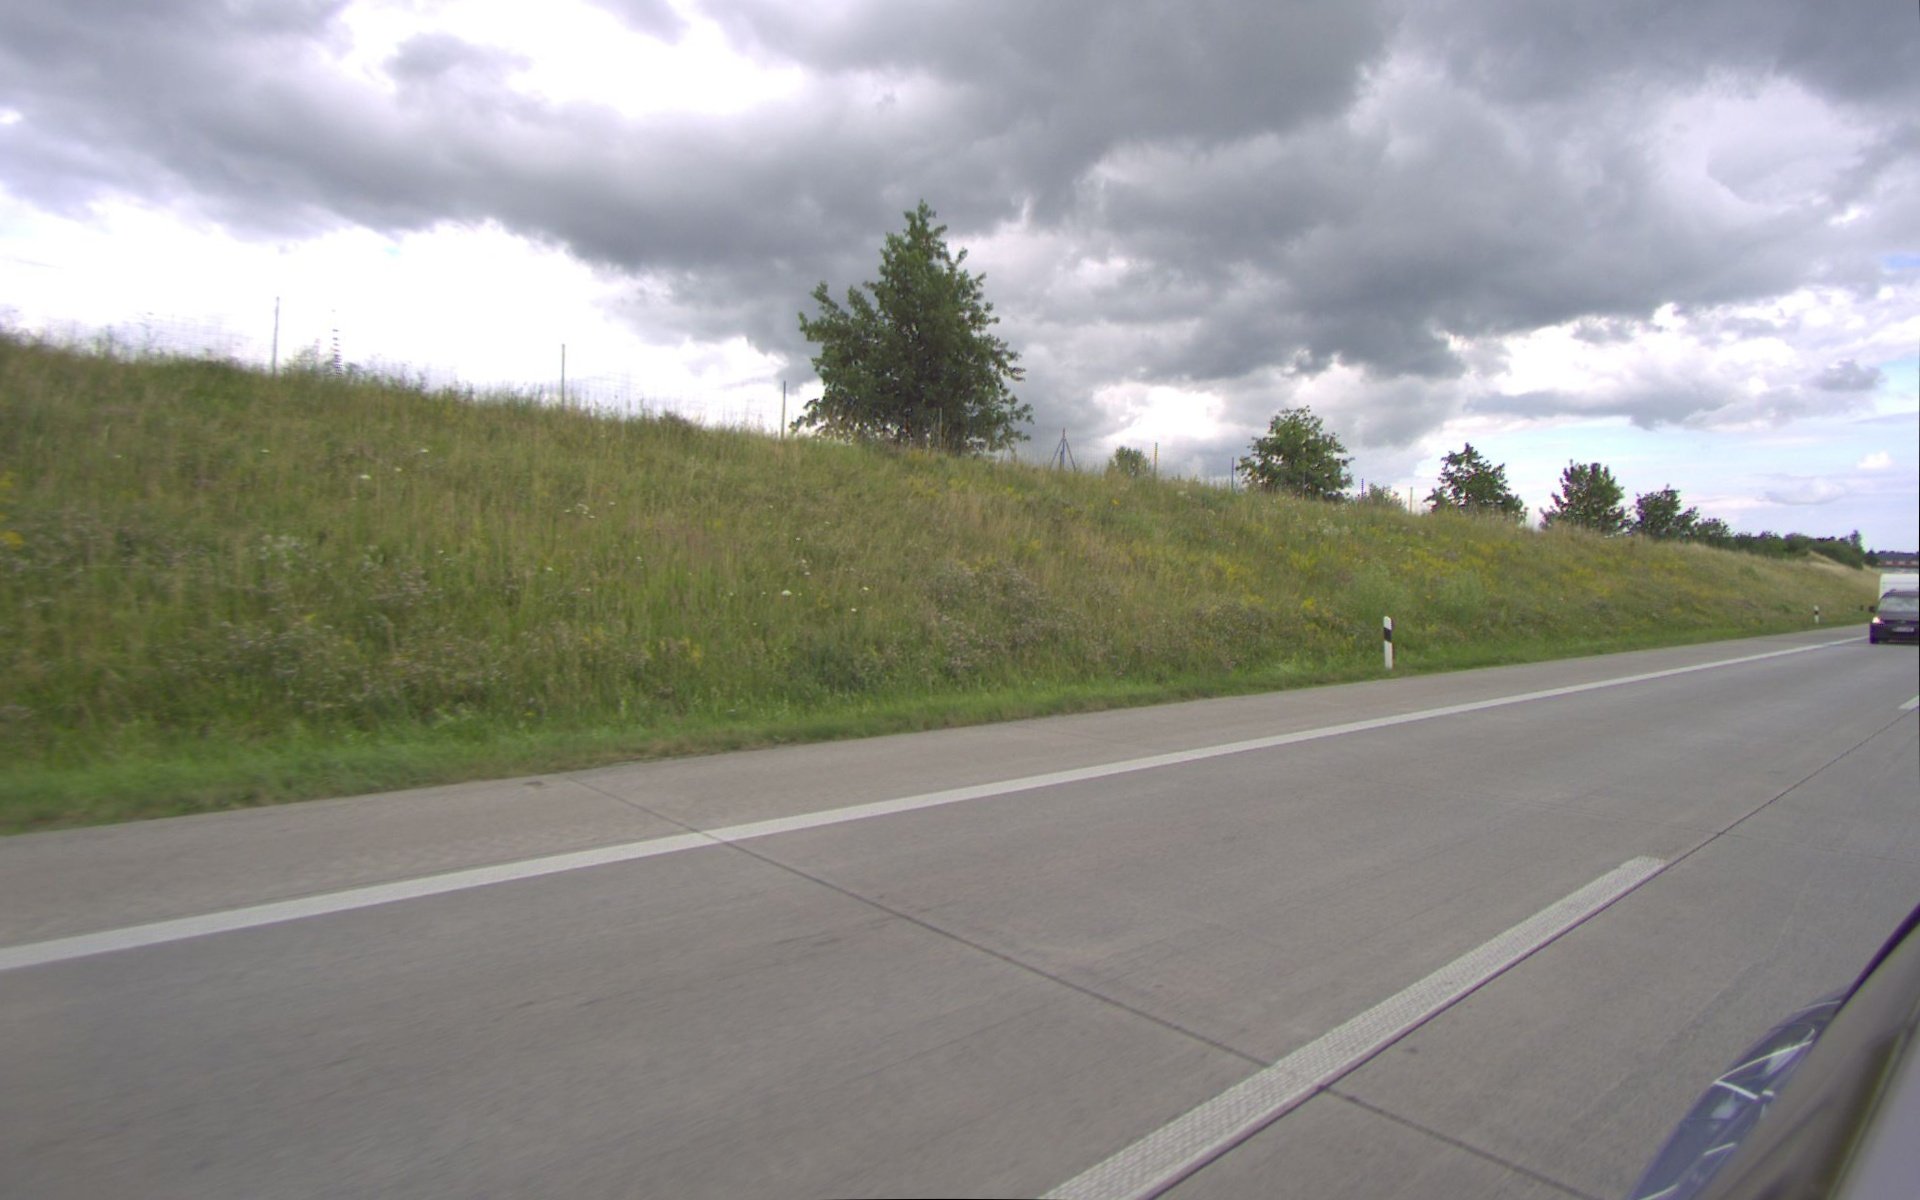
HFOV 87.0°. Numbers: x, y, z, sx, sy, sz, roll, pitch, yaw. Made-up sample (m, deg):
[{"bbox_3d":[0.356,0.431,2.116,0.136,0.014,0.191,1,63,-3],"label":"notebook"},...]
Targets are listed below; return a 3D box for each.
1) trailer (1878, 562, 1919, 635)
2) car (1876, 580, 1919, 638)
[{"bbox_3d":[36.114,-0.098,37.405,6.607,2.566,2.612,-1,1,-42],"label":"trailer"},{"bbox_3d":[31.907,0.242,33.458,4.946,1.832,1.942,-1,1,-42],"label":"car"}]
